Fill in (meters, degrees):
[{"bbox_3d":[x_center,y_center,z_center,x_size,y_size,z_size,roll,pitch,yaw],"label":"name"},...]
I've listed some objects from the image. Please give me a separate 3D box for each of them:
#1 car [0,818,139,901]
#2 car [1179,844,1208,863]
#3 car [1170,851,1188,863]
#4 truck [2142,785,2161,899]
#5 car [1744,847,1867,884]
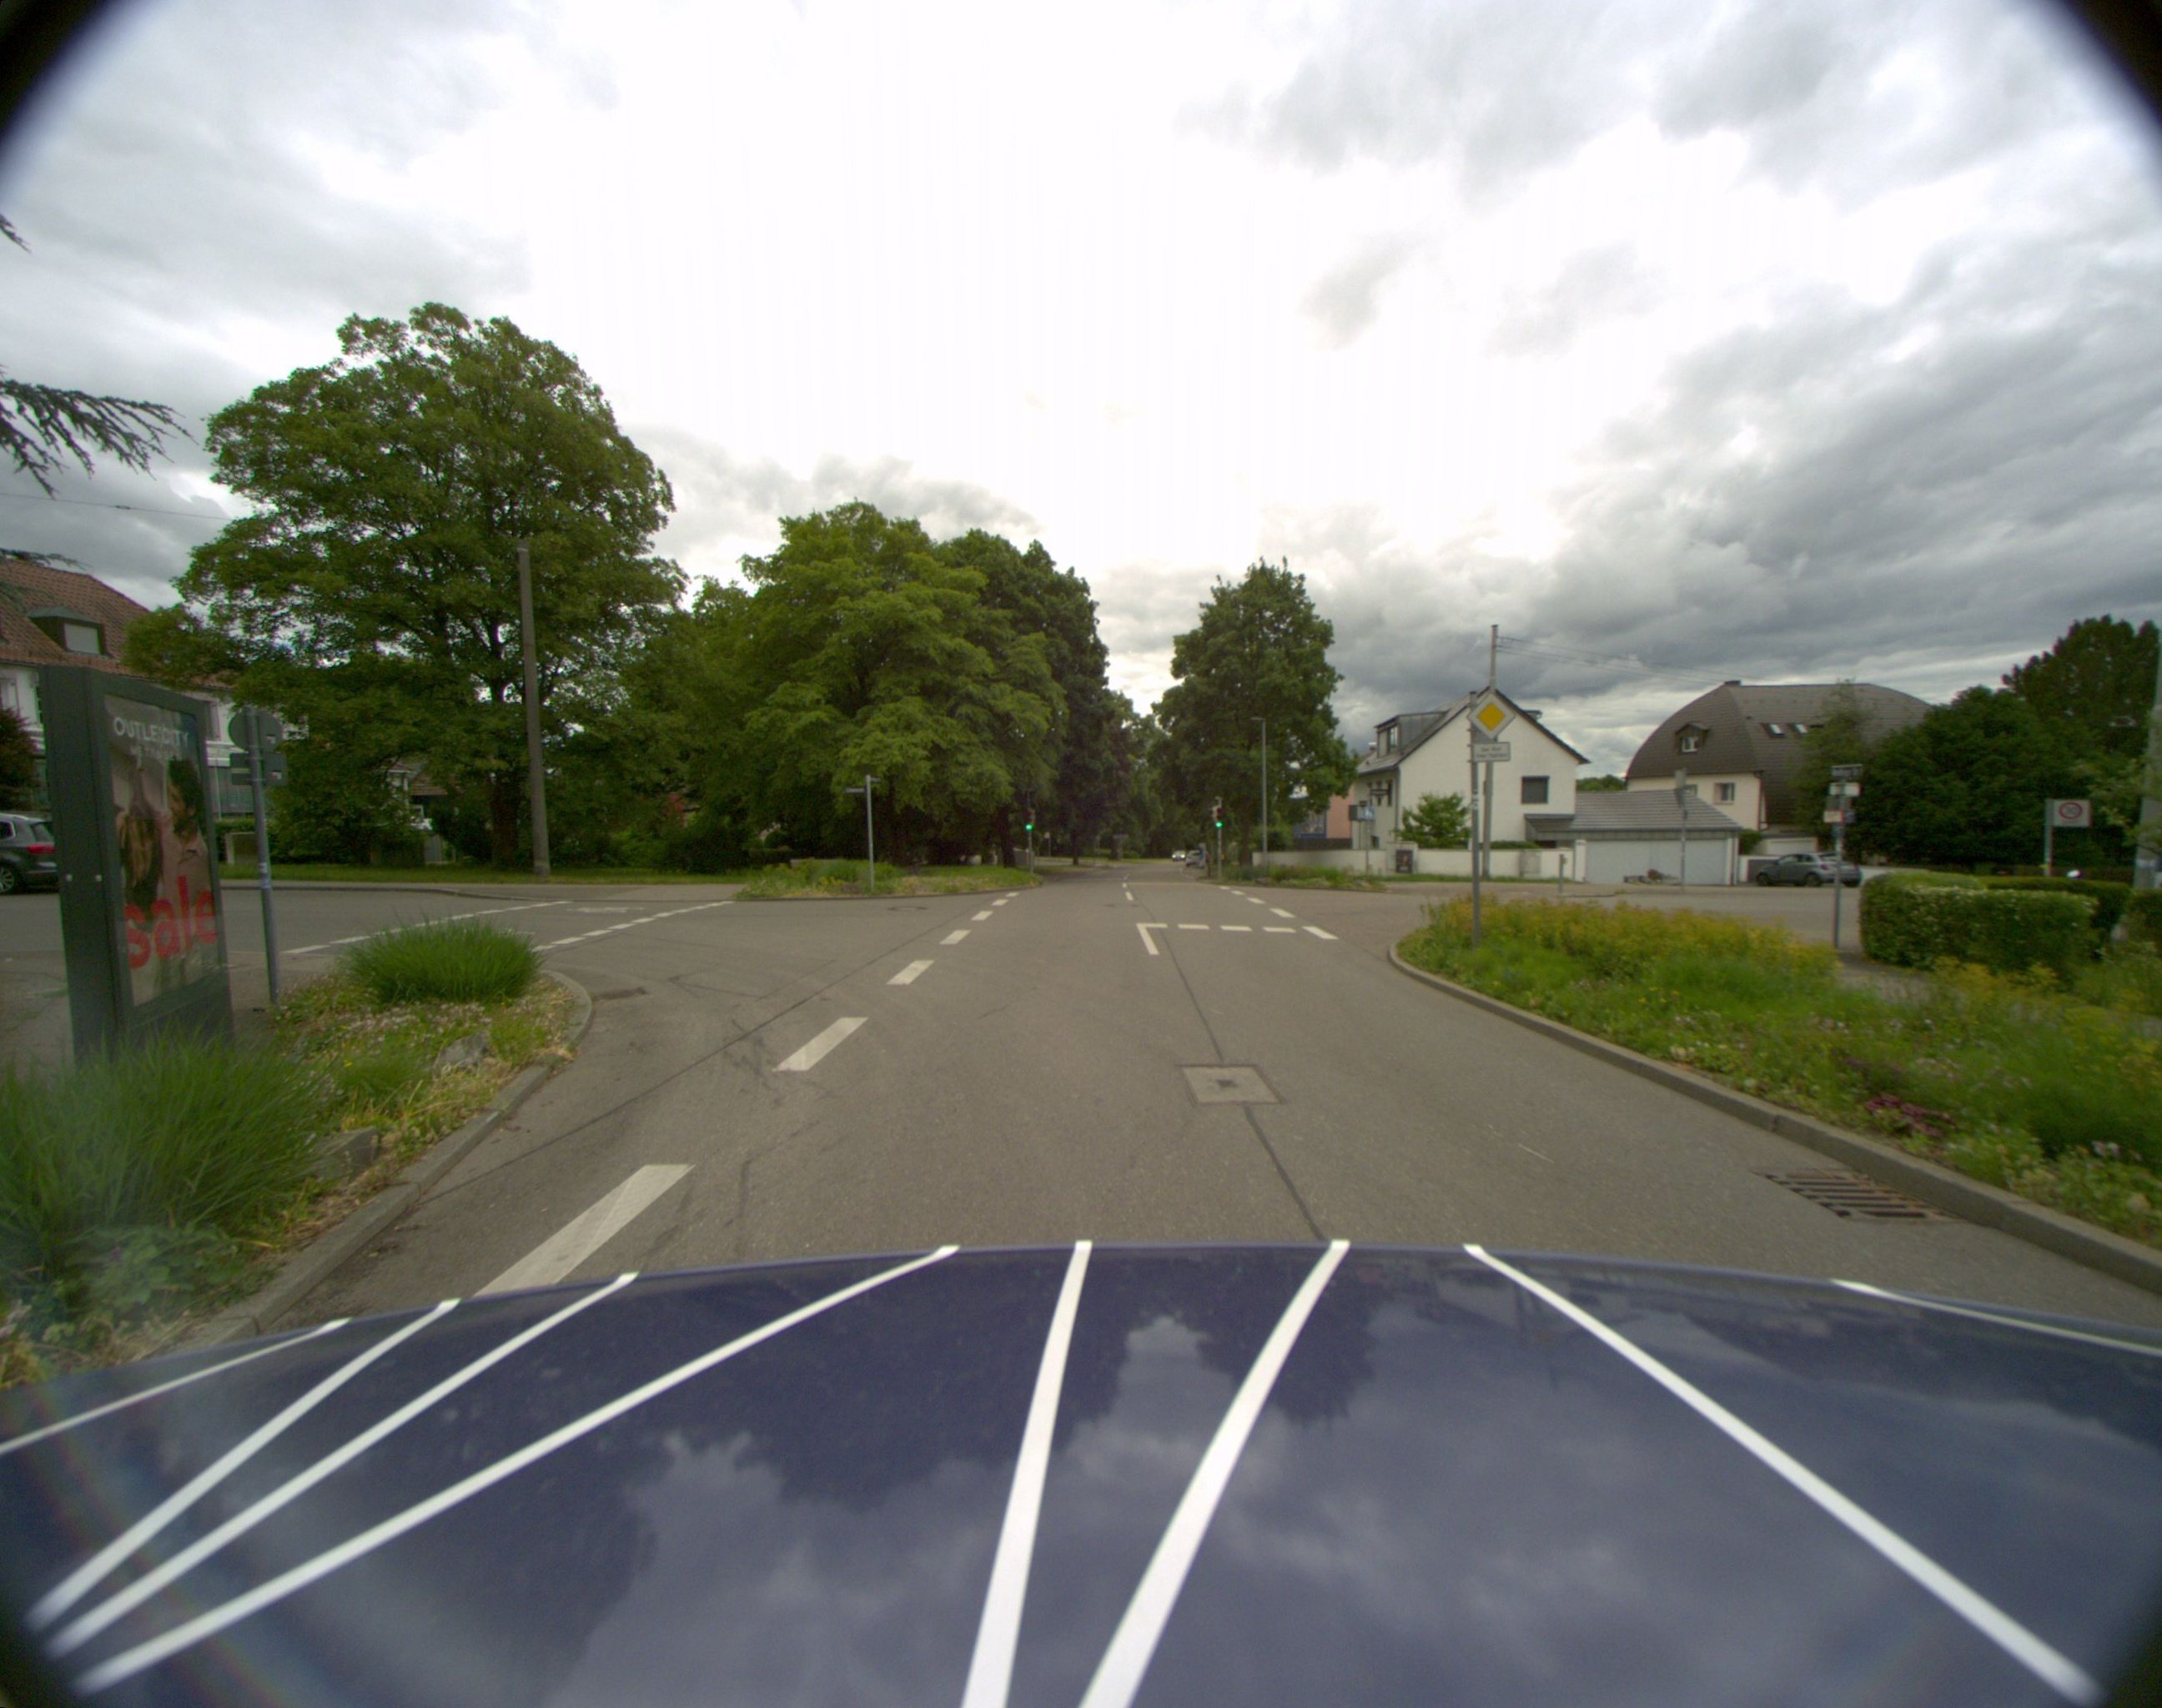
[{"bbox_3d":[-22.105,0.068,15.046,4.002,1.528,1.820,1,3,-13],"label":"car"},{"bbox_3d":[10.476,-0.043,70.430,1.995,1.543,4.004,2,3,18],"label":"car"},{"bbox_3d":[13.612,0.373,105.519,1.566,1.504,3.401,2,3,21],"label":"car"},{"bbox_3d":[47.128,-0.356,29.957,7.957,4.527,3.149,1,4,-14],"label":"truck"},{"bbox_3d":[31.077,0.526,32.743,1.691,1.487,3.860,0,-1,2],"label":"car"}]
